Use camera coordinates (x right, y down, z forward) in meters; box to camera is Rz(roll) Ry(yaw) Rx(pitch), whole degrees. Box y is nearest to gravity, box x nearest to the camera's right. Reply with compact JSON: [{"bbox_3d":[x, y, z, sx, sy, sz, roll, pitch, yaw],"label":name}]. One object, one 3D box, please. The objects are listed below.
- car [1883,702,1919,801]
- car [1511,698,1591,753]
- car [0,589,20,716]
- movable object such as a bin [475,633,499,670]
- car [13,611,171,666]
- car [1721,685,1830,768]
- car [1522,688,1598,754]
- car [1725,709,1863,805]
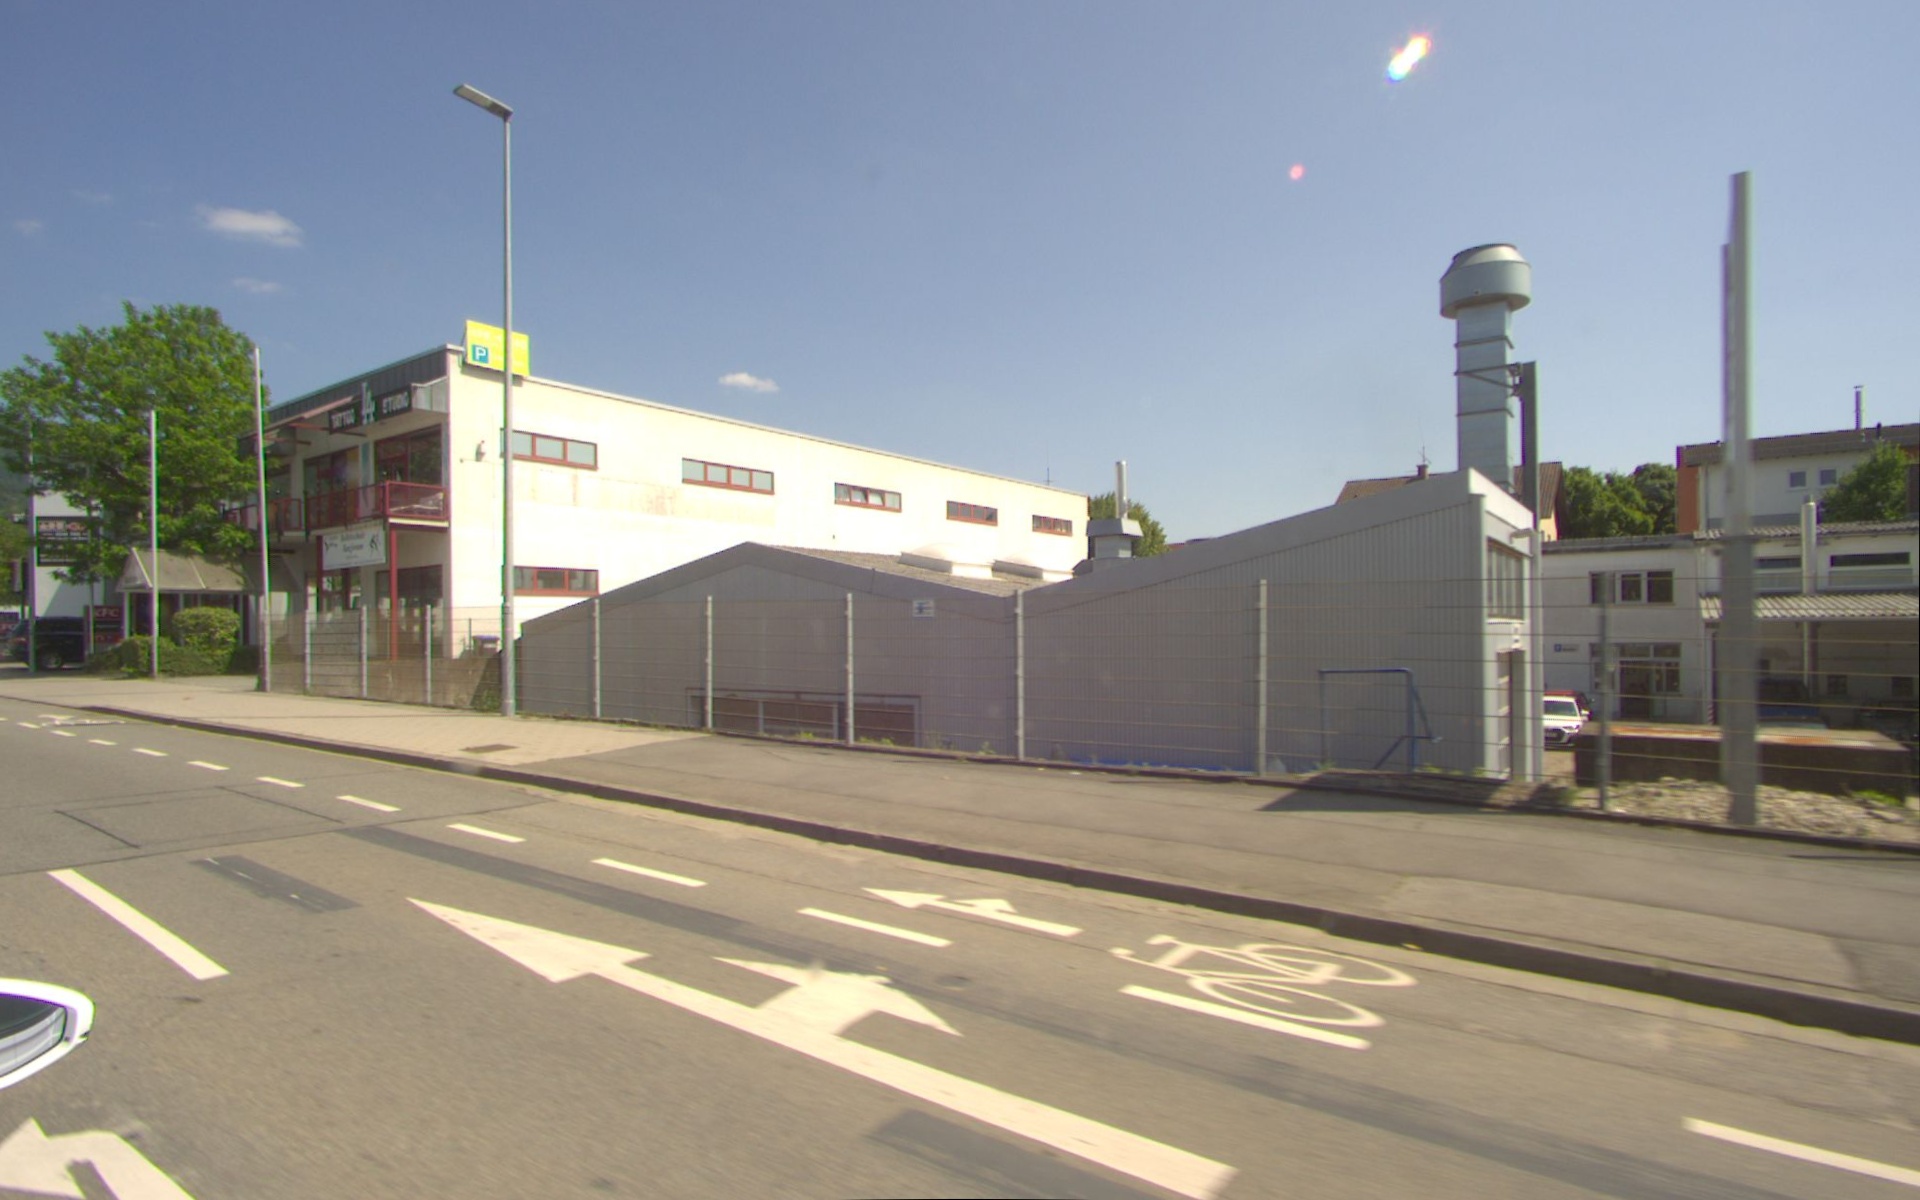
[{"bbox_3d":[20.948,3.167,21.039,1.838,1.683,3.974,0,-1,36],"label":"car"},{"bbox_3d":[17.655,3.689,29.846,1.845,1.421,3.818,-3,-5,33],"label":"car"},{"bbox_3d":[-18.006,0.833,17.120,4.483,2.085,1.930,0,-3,35],"label":"car"},{"bbox_3d":[-13.288,1.437,28.137,0.538,1.025,0.411,0,0,38],"label":"movable object such as a bin"},{"bbox_3d":[-30.110,1.273,34.805,1.978,1.799,3.966,0,-1,42],"label":"car"},{"bbox_3d":[21.801,3.311,26.914,1.890,1.880,3.979,-1,-3,34],"label":"car"},{"bbox_3d":[20.351,4.023,33.900,1.973,2.037,3.981,-3,-5,33],"label":"car"},{"bbox_3d":[18.105,3.324,21.907,1.820,1.535,3.978,-3,-2,33],"label":"car"}]
